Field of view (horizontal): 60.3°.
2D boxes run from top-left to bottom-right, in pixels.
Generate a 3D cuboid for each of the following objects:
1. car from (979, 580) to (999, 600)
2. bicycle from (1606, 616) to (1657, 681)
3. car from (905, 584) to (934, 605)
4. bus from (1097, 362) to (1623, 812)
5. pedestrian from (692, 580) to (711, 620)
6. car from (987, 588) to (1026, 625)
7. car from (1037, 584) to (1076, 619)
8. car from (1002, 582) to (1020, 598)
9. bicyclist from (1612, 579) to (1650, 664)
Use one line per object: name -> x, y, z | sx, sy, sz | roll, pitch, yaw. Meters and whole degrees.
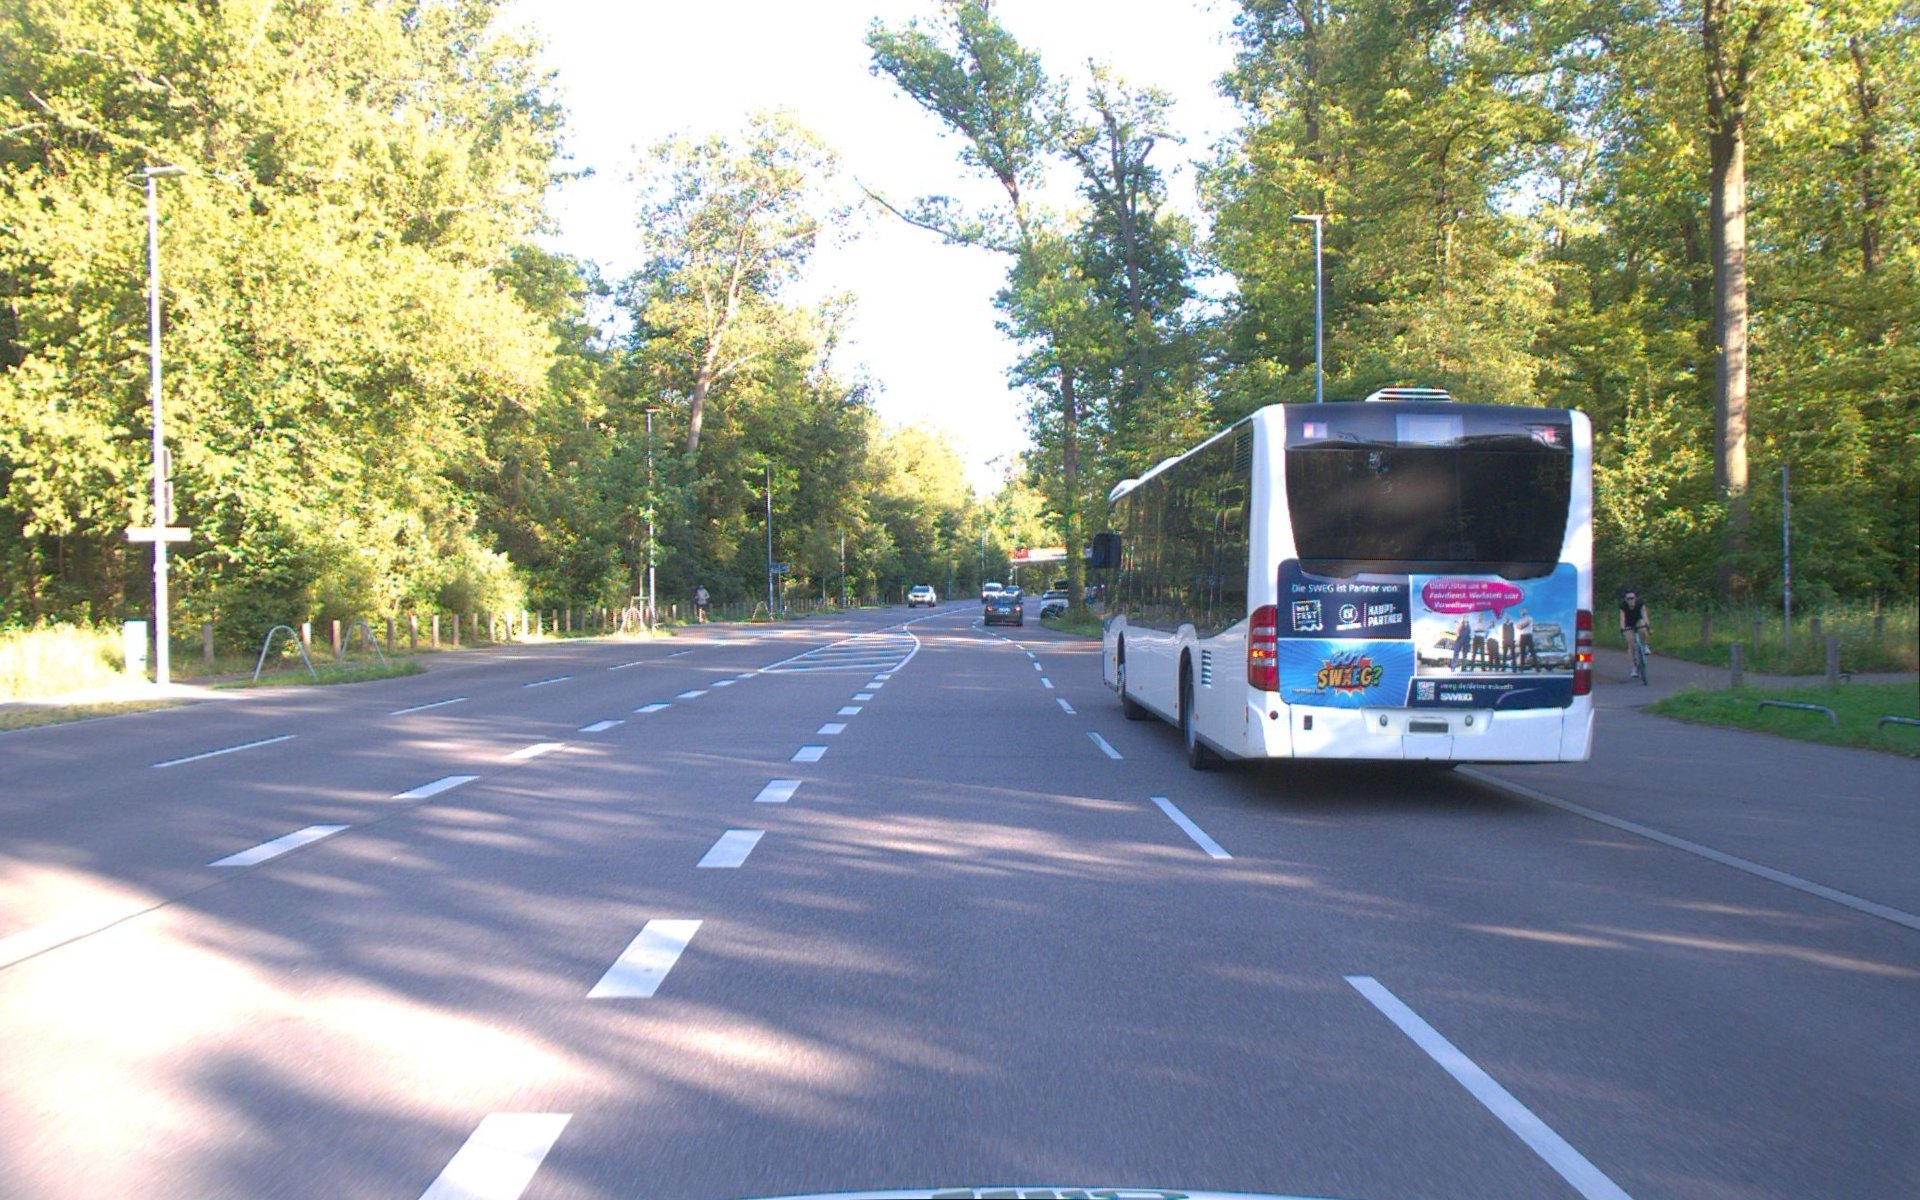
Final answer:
car -> 2.709, -0.905, 153.304 | 1.824, 1.759, 4.000 | 0, 0, 0
bicycle -> 11.299, 0.799, 27.885 | 0.538, 0.984, 1.759 | 0, 2, 14
car -> -3.094, -0.388, 126.957 | 1.824, 1.564, 4.133 | 0, 0, 3
bus -> 3.270, -0.082, 17.458 | 2.634, 3.096, 12.040 | 0, 0, 0
pedestrian -> -11.789, -0.002, 75.410 | 0.763, 1.844, 0.770 | 0, 0, -1
car -> 2.112, 0.289, 74.302 | 1.597, 1.574, 4.133 | 0, 0, 3
car -> 4.931, 0.080, 84.363 | 1.597, 1.688, 4.135 | 0, 0, 9
car -> 5.477, -1.072, 177.587 | 1.824, 1.592, 4.001 | 0, 0, 2
bicyclist -> 11.324, 0.360, 27.926 | 0.469, 1.410, 0.879 | 0, 0, 14
